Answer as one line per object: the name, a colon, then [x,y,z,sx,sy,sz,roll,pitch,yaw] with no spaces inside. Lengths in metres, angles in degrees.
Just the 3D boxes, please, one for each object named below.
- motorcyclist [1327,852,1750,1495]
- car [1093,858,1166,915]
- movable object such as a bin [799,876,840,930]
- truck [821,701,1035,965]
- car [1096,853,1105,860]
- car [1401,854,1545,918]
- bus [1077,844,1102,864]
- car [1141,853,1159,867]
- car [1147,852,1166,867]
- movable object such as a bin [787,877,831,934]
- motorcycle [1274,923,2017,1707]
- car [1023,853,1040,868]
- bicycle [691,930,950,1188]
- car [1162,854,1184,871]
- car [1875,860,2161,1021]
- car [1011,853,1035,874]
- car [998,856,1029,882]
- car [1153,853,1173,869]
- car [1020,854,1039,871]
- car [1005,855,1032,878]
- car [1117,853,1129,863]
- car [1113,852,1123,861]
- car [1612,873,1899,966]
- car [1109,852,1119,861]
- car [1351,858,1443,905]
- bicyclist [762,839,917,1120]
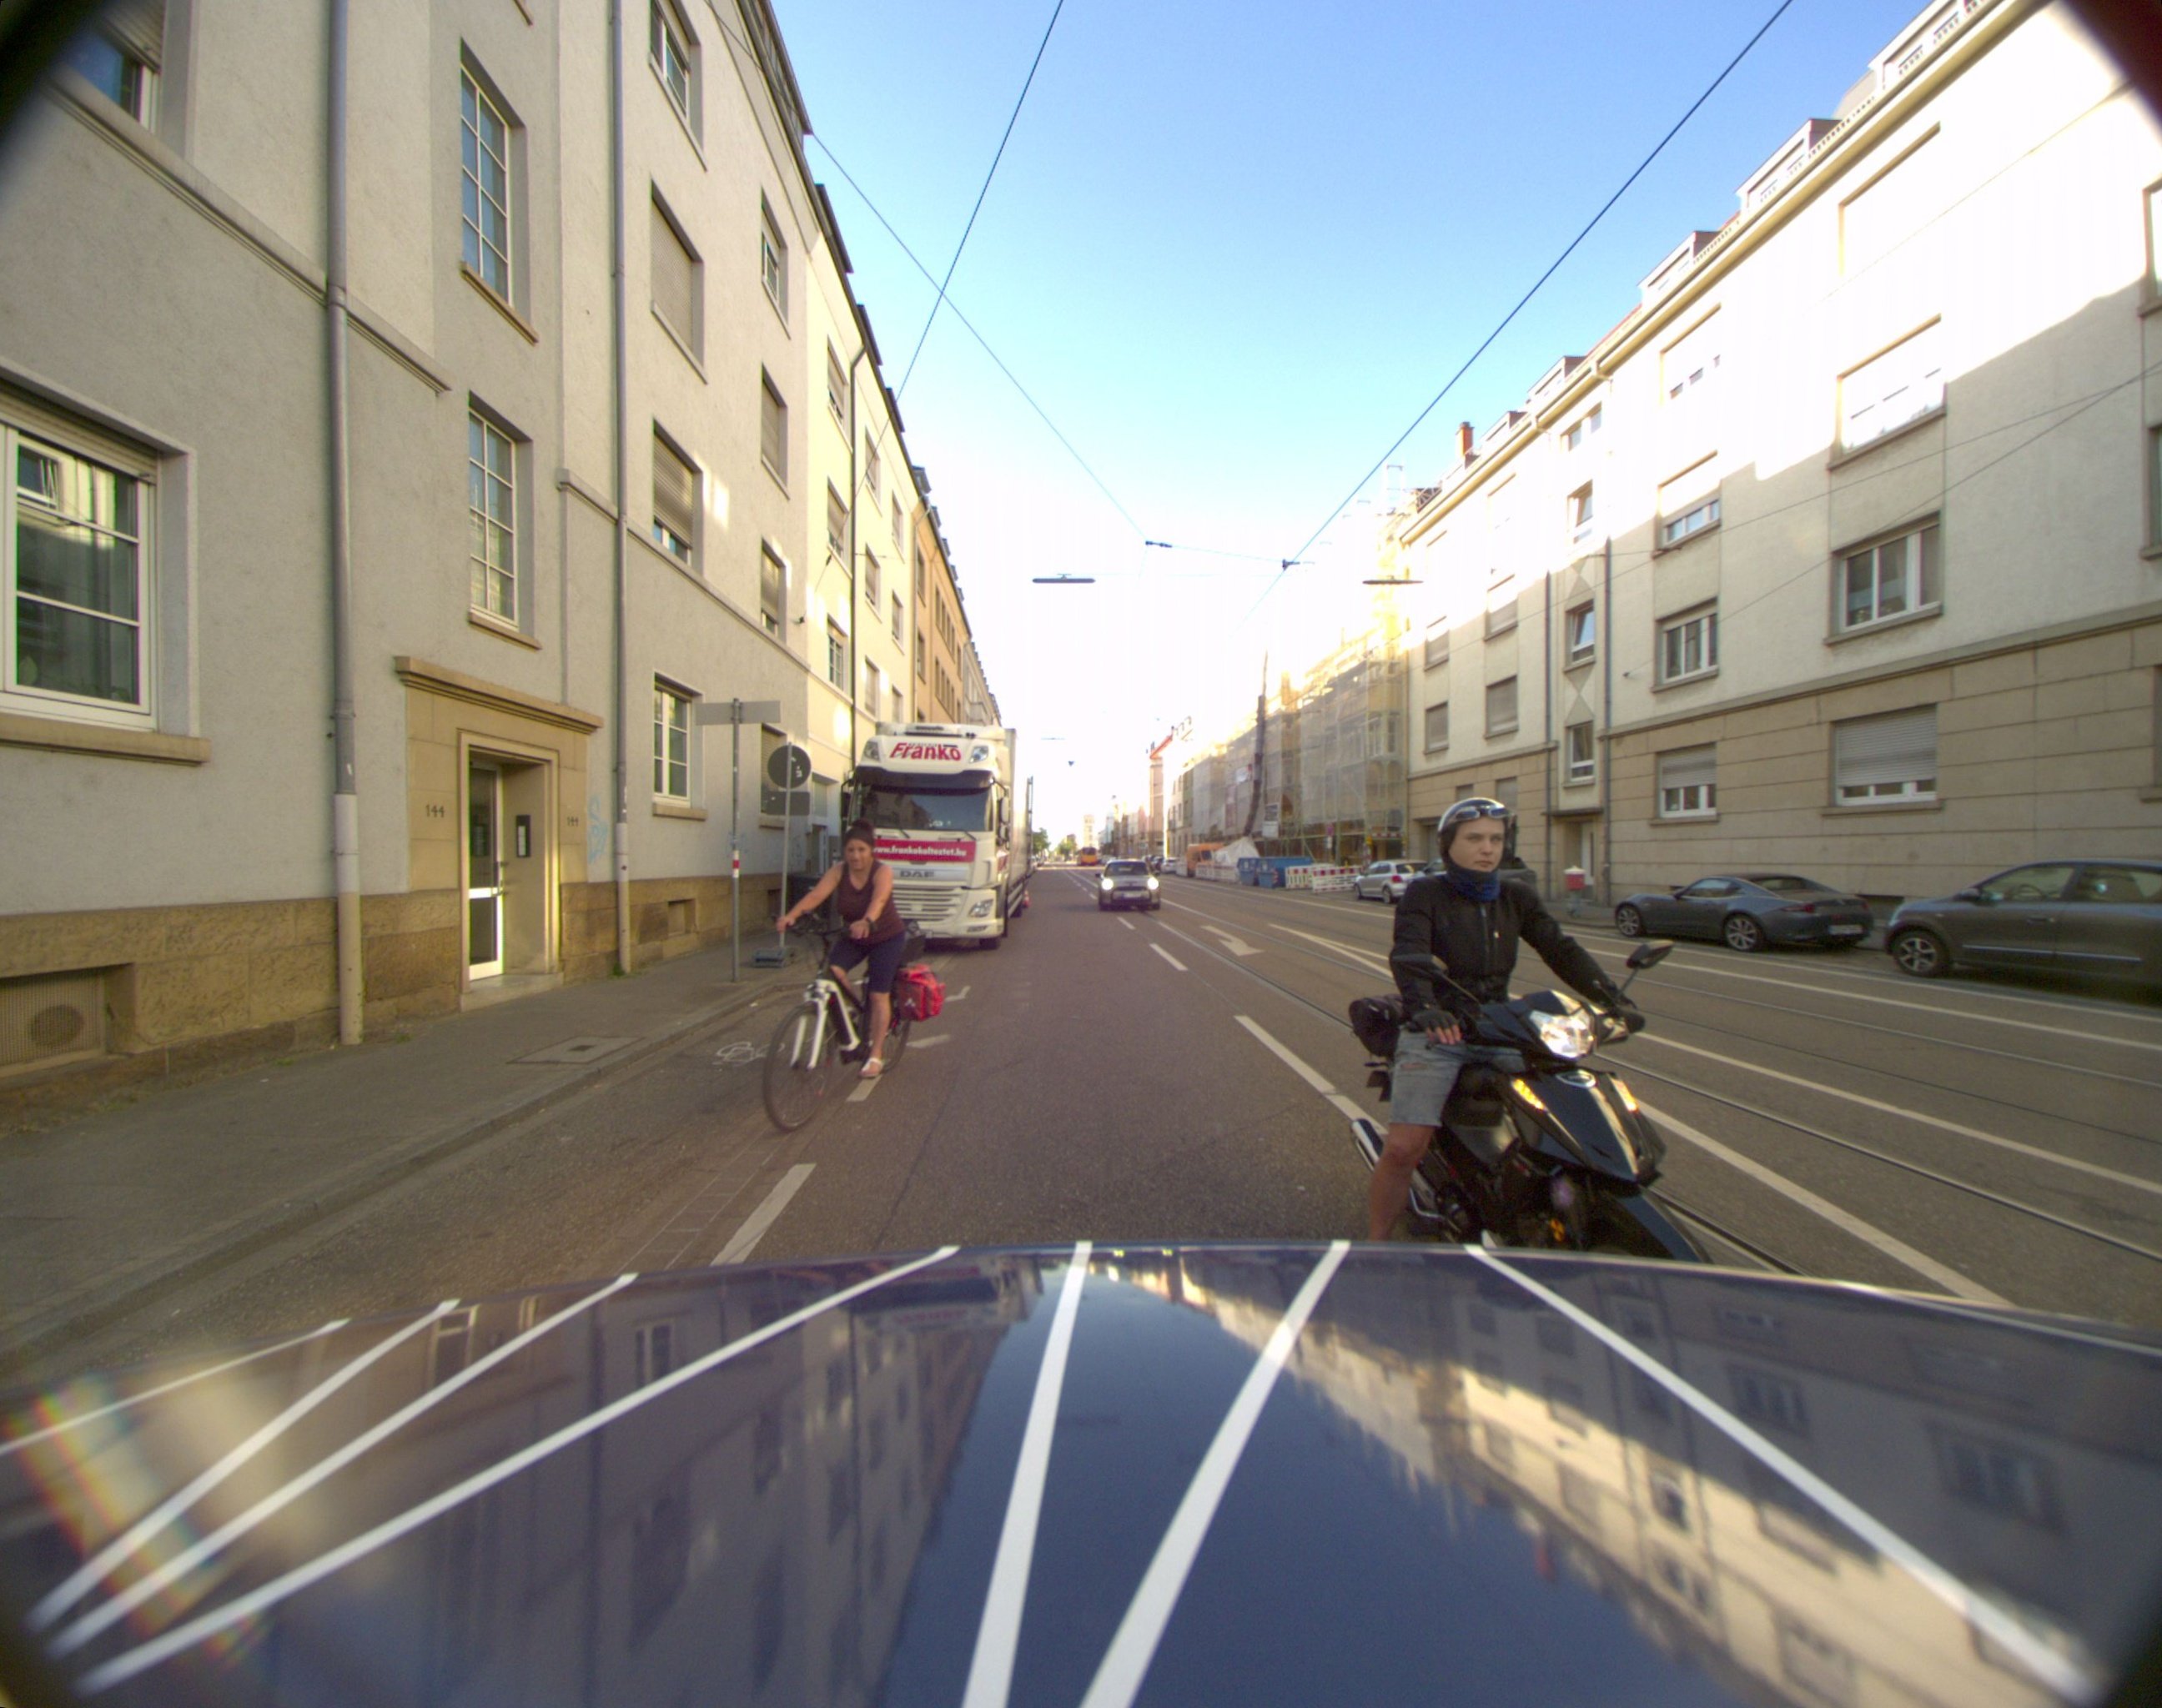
motorcyclist: [1.310,0.818,2.389,0.791,1.645,0.900,0,1,1]
car: [1.331,0.883,22.548,1.685,1.454,4.148,-2,0,-3]
movable object such as a bin: [-5.398,1.001,15.707,0.666,1.087,0.570,0,1,-2]
truck: [-2.624,-0.319,17.179,2.782,3.903,11.816,0,0,-2]
car: [4.264,0.622,167.810,1.684,1.478,3.965,-2,0,-1]
car: [10.813,0.807,21.329,1.696,1.590,4.206,-1,0,-3]
bus: [1.281,-0.025,128.145,2.755,3.095,19.156,0,0,-3]
car: [7.937,0.657,87.878,1.684,1.478,3.966,-2,0,1]
car: [8.249,0.620,83.181,1.684,1.573,3.966,-2,0,1]
movable object such as a bin: [-5.381,1.009,15.038,0.666,1.087,0.570,0,1,-2]
motorcycle: [1.311,0.975,2.518,0.791,1.284,2.273,0,0,1]
car: [-5.347,0.652,82.742,1.685,1.522,4.148,-2,0,-3]
bicycle: [-1.501,1.132,4.805,0.617,1.097,1.888,0,0,14]
car: [8.575,0.763,71.111,1.684,1.478,3.966,-2,0,1]
car: [11.419,0.862,8.317,1.679,1.519,3.539,-1,0,-3]
car: [-4.507,0.749,59.156,1.685,1.522,4.148,-2,0,-3]
car: [-4.173,0.899,47.186,1.685,1.522,4.148,-2,0,-3]
car: [8.270,0.708,76.808,1.684,1.478,3.966,-2,0,1]
car: [-4.853,0.752,72.096,1.685,1.522,4.148,-2,0,-3]
car: [-4.300,0.832,52.988,1.685,1.522,4.148,-2,0,-3]
car: [6.603,0.627,118.633,1.684,1.478,3.966,-2,0,1]
car: [6.536,0.470,134.399,1.684,1.478,3.966,-2,0,1]
car: [11.182,1.002,12.979,1.520,1.227,3.685,-1,0,-3]
car: [5.963,0.449,139.342,1.684,1.478,3.966,-2,0,1]
car: [10.612,0.883,25.777,1.543,1.404,3.510,-1,0,-3]
bicyclist: [-1.501,0.724,4.814,0.617,1.620,0.760,0,1,14]
